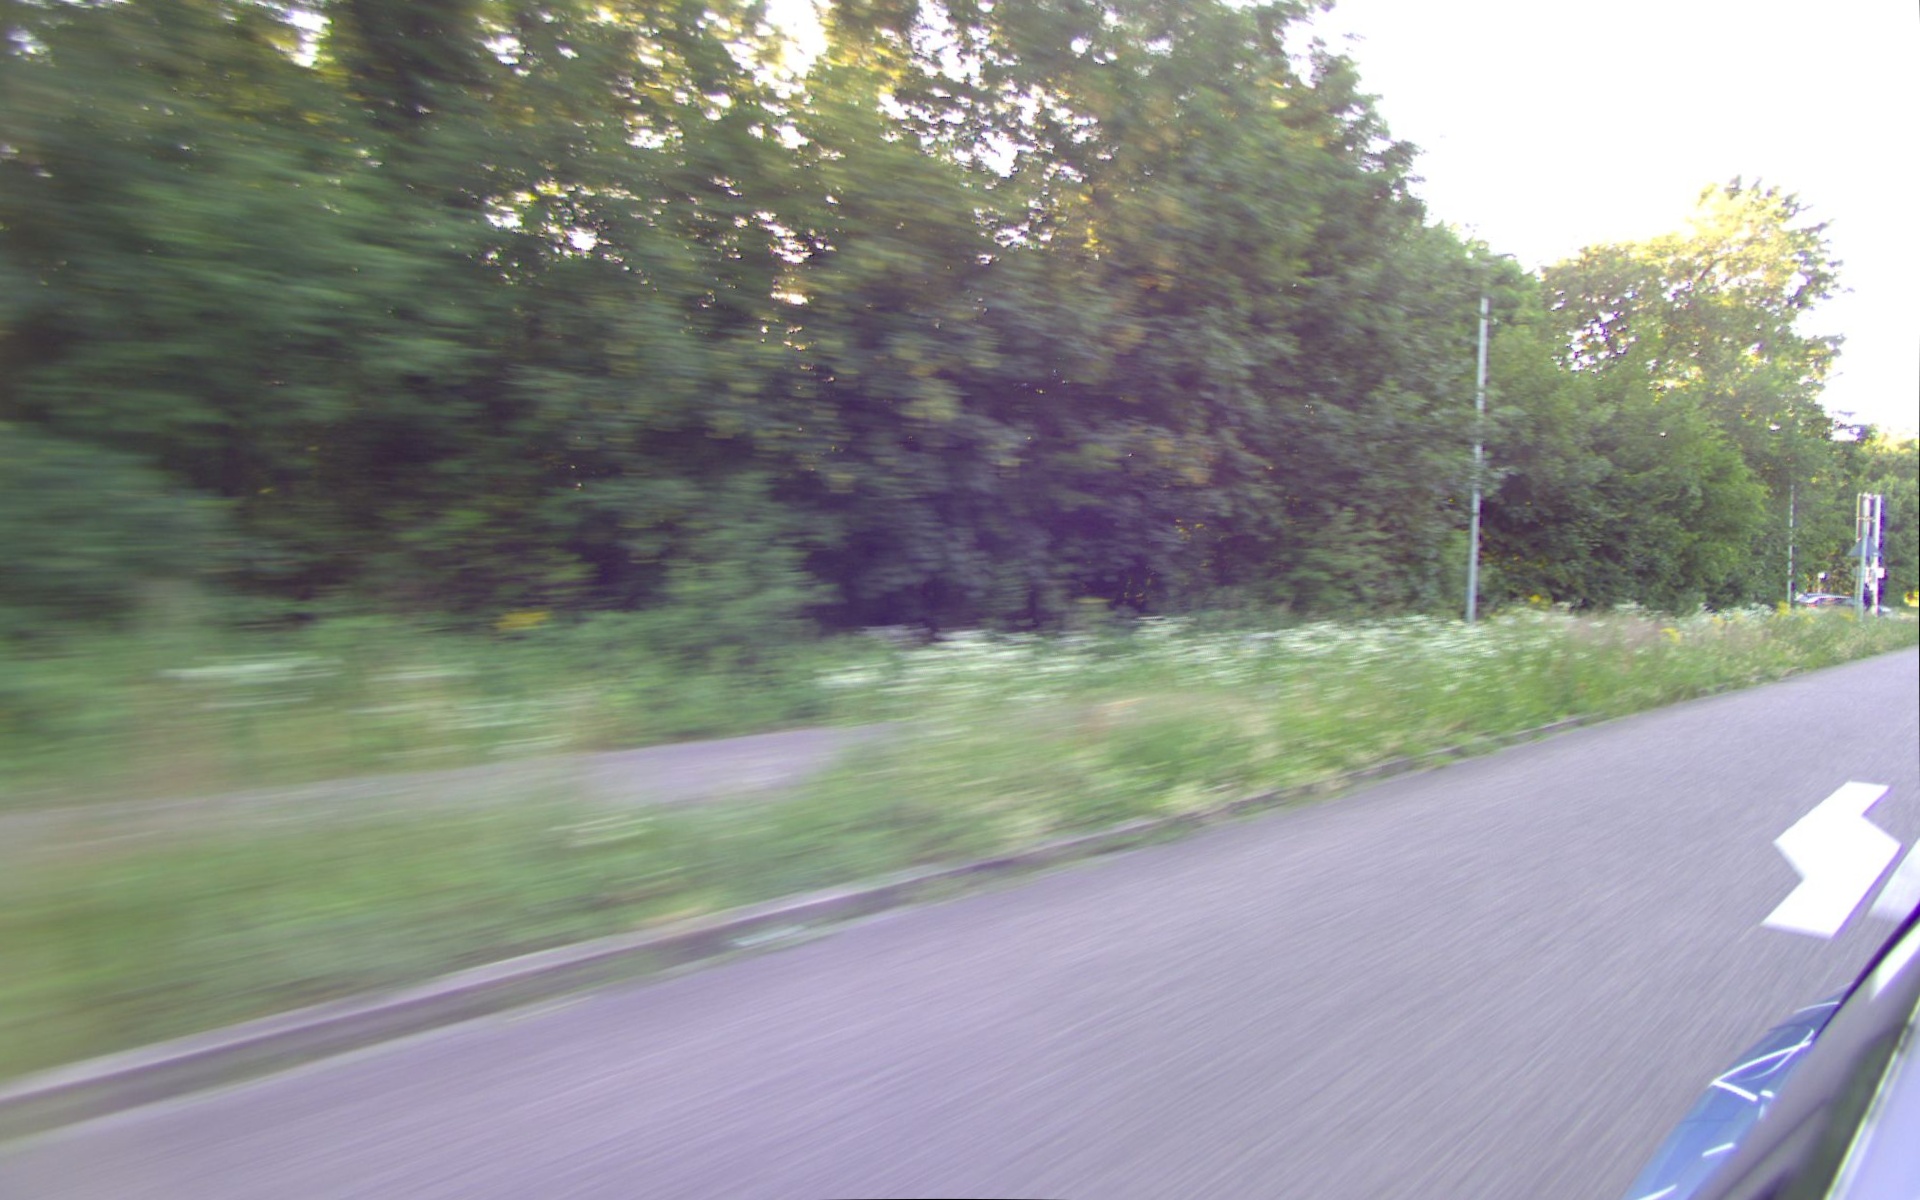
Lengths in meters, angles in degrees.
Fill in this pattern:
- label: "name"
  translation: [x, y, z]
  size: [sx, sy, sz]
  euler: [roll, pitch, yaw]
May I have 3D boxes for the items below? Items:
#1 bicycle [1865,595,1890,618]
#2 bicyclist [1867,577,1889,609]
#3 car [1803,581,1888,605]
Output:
- label: "bicycle"
  translation: [42.516, 0.305, 46.898]
  size: [1.661, 1.008, 0.612]
  euler: [-1, 3, -40]
- label: "bicyclist"
  translation: [42.570, -0.325, 46.927]
  size: [0.766, 1.473, 0.604]
  euler: [0, 2, -39]
- label: "car"
  translation: [60.859, -0.500, 69.635]
  size: [4.039, 1.422, 1.855]
  euler: [2, 4, 28]
